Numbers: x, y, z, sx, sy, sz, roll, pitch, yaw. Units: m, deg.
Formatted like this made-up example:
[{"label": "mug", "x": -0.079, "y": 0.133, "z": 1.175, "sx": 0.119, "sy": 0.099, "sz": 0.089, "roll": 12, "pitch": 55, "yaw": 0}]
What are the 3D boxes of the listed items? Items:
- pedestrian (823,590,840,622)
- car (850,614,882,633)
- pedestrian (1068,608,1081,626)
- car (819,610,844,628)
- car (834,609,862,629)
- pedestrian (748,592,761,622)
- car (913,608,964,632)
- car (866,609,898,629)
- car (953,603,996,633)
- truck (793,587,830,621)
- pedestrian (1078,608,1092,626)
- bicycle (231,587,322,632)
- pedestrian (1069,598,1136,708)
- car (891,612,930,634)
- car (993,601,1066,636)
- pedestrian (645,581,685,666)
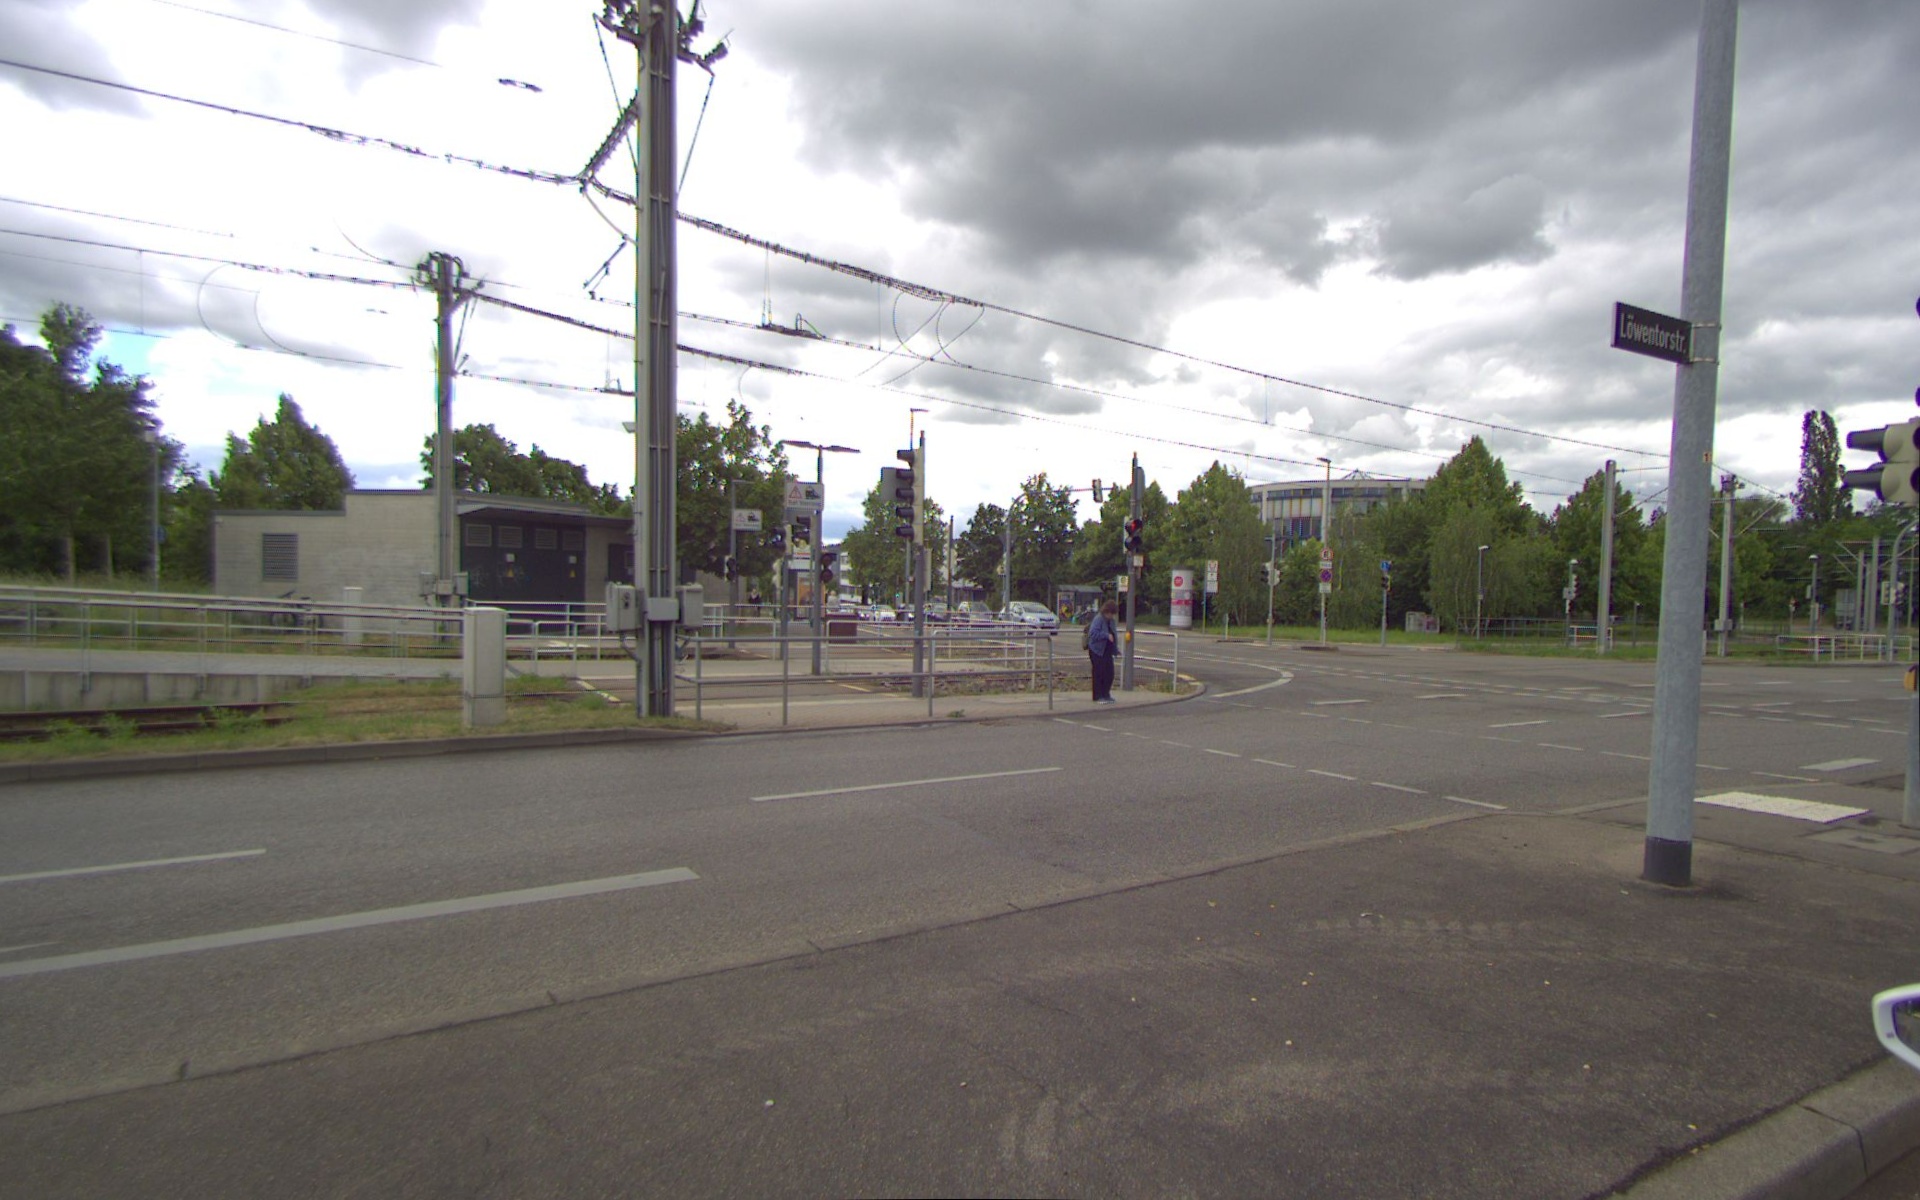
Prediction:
[{"label": "pedestrian", "x": -5.595, "y": 0.261, "z": 43.712, "sx": 0.543, "sy": 1.382, "sz": 0.769, "roll": 1, "pitch": 0, "yaw": -24}, {"label": "car", "x": -7.588, "y": 1.856, "z": 80.466, "sx": 1.618, "sy": 1.409, "sz": 4.867, "roll": 1, "pitch": 0, "yaw": -17}, {"label": "pedestrian", "x": 8.313, "y": 1.241, "z": 72.908, "sx": 0.718, "sy": 1.333, "sz": 0.587, "roll": 1, "pitch": 0, "yaw": -15}, {"label": "car", "x": -12.053, "y": 1.741, "z": 93.935, "sx": 1.618, "sy": 1.607, "sz": 4.046, "roll": 0, "pitch": 0, "yaw": -17}, {"label": "car", "x": -9.725, "y": 1.625, "z": 86.882, "sx": 1.708, "sy": 1.607, "sz": 4.208, "roll": 0, "pitch": 0, "yaw": -17}, {"label": "pedestrian", "x": -11.846, "y": 0.417, "z": 57.902, "sx": 0.539, "sy": 1.692, "sz": 0.639, "roll": 1, "pitch": 0, "yaw": 10}, {"label": "car", "x": -1.317, "y": 1.131, "z": 58.266, "sx": 1.777, "sy": 1.350, "sz": 4.362, "roll": 1, "pitch": 0, "yaw": -18}, {"label": "car", "x": -5.811, "y": 1.413, "z": 74.759, "sx": 1.618, "sy": 1.409, "sz": 3.748, "roll": 1, "pitch": 0, "yaw": -17}, {"label": "car", "x": 0.738, "y": 0.920, "z": 53.290, "sx": 1.411, "sy": 1.547, "sz": 2.763, "roll": 0, "pitch": 0, "yaw": -19}, {"label": "truck", "x": -16.164, "y": 0.459, "z": 108.947, "sx": 2.670, "sy": 3.533, "sz": 9.960, "roll": 0, "pitch": 0, "yaw": -16}, {"label": "pedestrian", "x": 8.890, "y": 1.216, "z": 71.489, "sx": 0.759, "sy": 1.269, "sz": 0.774, "roll": 1, "pitch": 0, "yaw": 32}, {"label": "bicycle", "x": -18.427, "y": 0.250, "z": 27.080, "sx": 2.210, "sy": 1.120, "sz": 0.679, "roll": 2, "pitch": 0, "yaw": 12}, {"label": "pedestrian", "x": 2.068, "y": 0.758, "z": 14.651, "sx": 0.661, "sy": 1.550, "sz": 0.711, "roll": 1, "pitch": 0, "yaw": -25}, {"label": "car", "x": -3.244, "y": 1.465, "z": 65.213, "sx": 1.618, "sy": 1.350, "sz": 4.046, "roll": 1, "pitch": 0, "yaw": -17}, {"label": "car", "x": 3.189, "y": 0.829, "z": 47.011, "sx": 1.805, "sy": 1.556, "sz": 4.199, "roll": 1, "pitch": 0, "yaw": -21}, {"label": "pedestrian", "x": -5.671, "y": 0.450, "z": 19.309, "sx": 0.539, "sy": 1.593, "sz": 0.560, "roll": 4, "pitch": -1, "yaw": -31}]
